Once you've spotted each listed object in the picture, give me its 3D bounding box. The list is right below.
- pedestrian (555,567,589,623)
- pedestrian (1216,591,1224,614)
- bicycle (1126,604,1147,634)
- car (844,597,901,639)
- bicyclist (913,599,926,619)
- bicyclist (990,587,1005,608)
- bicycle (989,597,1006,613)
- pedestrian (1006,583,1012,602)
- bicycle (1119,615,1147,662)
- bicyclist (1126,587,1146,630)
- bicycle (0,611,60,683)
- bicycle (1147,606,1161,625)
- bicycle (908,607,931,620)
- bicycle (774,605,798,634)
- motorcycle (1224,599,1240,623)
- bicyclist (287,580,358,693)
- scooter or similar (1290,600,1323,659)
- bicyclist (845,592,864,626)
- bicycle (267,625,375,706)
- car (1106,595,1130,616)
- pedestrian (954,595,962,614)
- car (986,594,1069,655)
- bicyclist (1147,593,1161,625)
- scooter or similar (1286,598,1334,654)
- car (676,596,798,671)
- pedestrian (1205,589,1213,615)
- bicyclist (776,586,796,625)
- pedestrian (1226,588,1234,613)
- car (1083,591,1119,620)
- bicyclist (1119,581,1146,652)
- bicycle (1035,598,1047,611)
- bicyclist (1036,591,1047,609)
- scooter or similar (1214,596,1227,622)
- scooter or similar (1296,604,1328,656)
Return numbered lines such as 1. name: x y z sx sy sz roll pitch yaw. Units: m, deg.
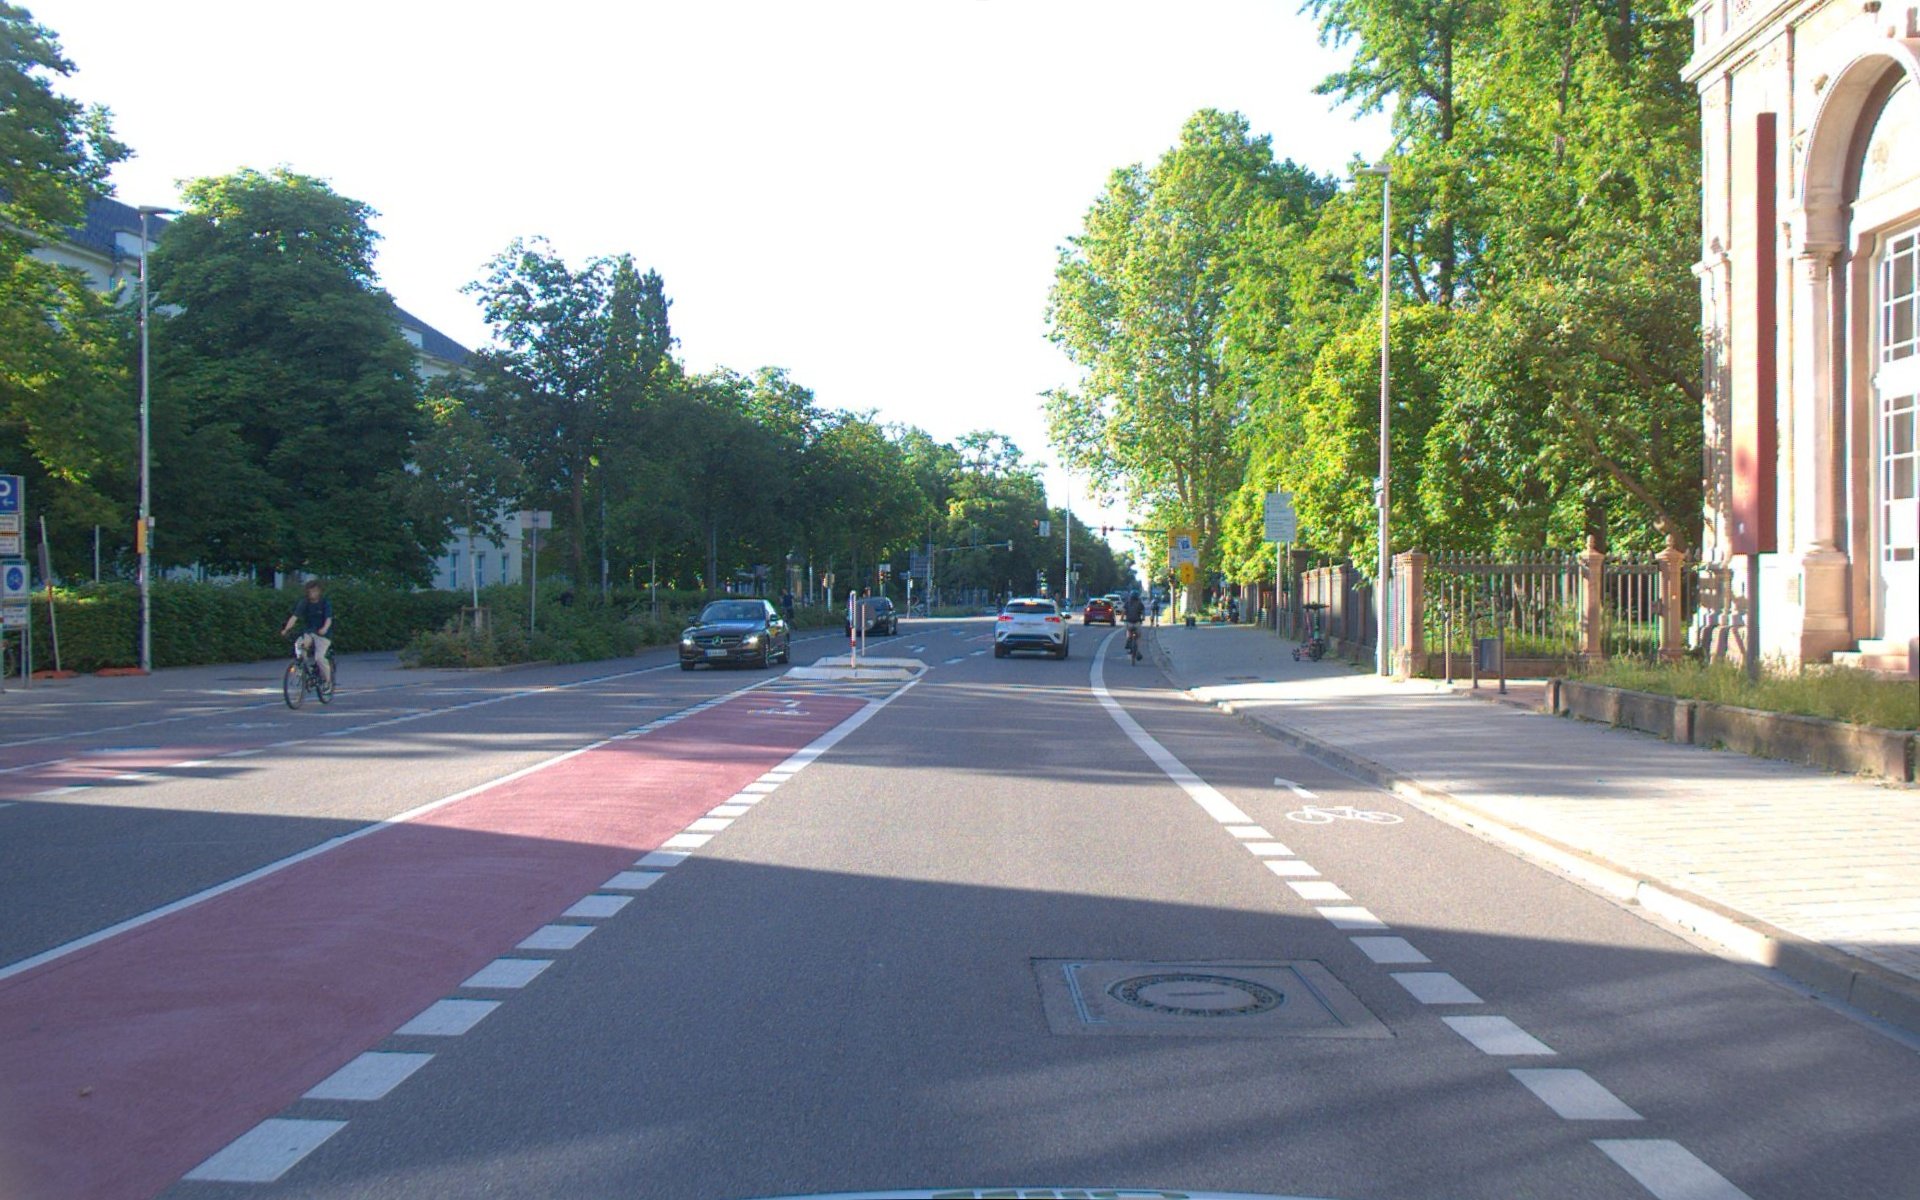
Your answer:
1. pedestrian: -13.275 -0.170 56.635 0.837 1.884 1.002 -1 0 5
2. pedestrian: 19.215 0.182 122.114 0.472 1.668 0.432 -4 3 13
3. bicycle: 6.434 0.694 60.438 0.737 1.044 1.870 1 -1 6
4. car: -3.255 0.654 62.515 1.721 1.484 4.002 -1 0 3
5. bicyclist: -3.169 0.694 129.810 0.902 1.535 0.507 -1 0 14
6. bicyclist: 3.160 -0.216 138.581 1.069 1.785 1.098 -1 0 8
7. bicycle: 3.153 0.414 138.462 1.078 1.277 2.781 -1 0 8
8. pedestrian: 5.412 -0.793 183.020 0.642 2.049 0.832 -1 0 4
9. bicycle: 4.110 0.908 39.377 0.629 1.042 2.214 1 0 6
10. bicyclist: 6.441 0.302 60.452 0.731 1.564 0.970 0 0 6
11. bicycle: -17.415 0.847 29.679 2.271 1.251 0.560 -1 0 5
12. bicycle: 10.844 0.885 92.667 0.737 1.044 1.870 1 -1 6
13. bicycle: -3.170 1.074 129.807 1.728 1.007 0.513 -1 0 14
14. bicycle: -7.149 0.803 68.192 0.584 1.140 2.028 -4 0 4
15. motorcycle: 13.899 0.543 84.583 0.648 1.188 2.329 -3 0 6
16. bicyclist: -8.858 0.500 22.999 0.642 1.511 0.665 -3 0 0
17. scooter or similar: 7.527 0.635 35.965 0.291 1.261 1.158 -1 0 -10
18. bicyclist: -4.673 0.399 73.262 0.632 1.443 0.971 -3 0 4
19. bicycle: -8.831 0.879 22.936 0.638 1.013 2.109 -2 0 1
20. car: 12.250 0.447 128.295 1.700 1.573 4.003 0 0 7
21. pedestrian: -0.202 0.433 162.667 0.637 1.921 0.663 -1 0 9
22. car: 1.796 0.597 42.913 1.951 1.478 4.002 -1 0 5
23. bicyclist: 10.854 0.506 92.623 0.734 1.780 0.844 1 0 6
24. scooter or similar: 8.214 0.595 38.854 0.538 1.264 1.553 -1 0 -11
25. car: -4.634 0.651 34.975 1.774 1.444 4.556 -1 0 2
26. pedestrian: 18.402 0.142 122.084 0.472 1.823 0.432 -3 3 13
27. bicyclist: -7.165 0.233 68.262 0.616 1.549 0.725 -3 0 4
28. pedestrian: 20.043 0.013 122.815 0.472 1.823 0.432 -3 3 13
29. car: 7.805 0.288 91.175 1.888 1.560 4.003 -1 0 6
30. bicyclist: 4.112 0.387 39.341 0.622 1.642 1.285 1 0 6
31. bicycle: 8.165 0.450 166.159 0.943 1.201 2.953 -1 0 8
32. bicyclist: 8.167 -0.021 166.226 0.935 1.735 1.233 -1 0 8
33. scooter or similar: 14.375 0.486 91.354 0.554 1.407 1.857 -1 0 5
34. scooter or similar: 7.864 0.656 36.970 0.470 1.142 1.336 -1 0 2
